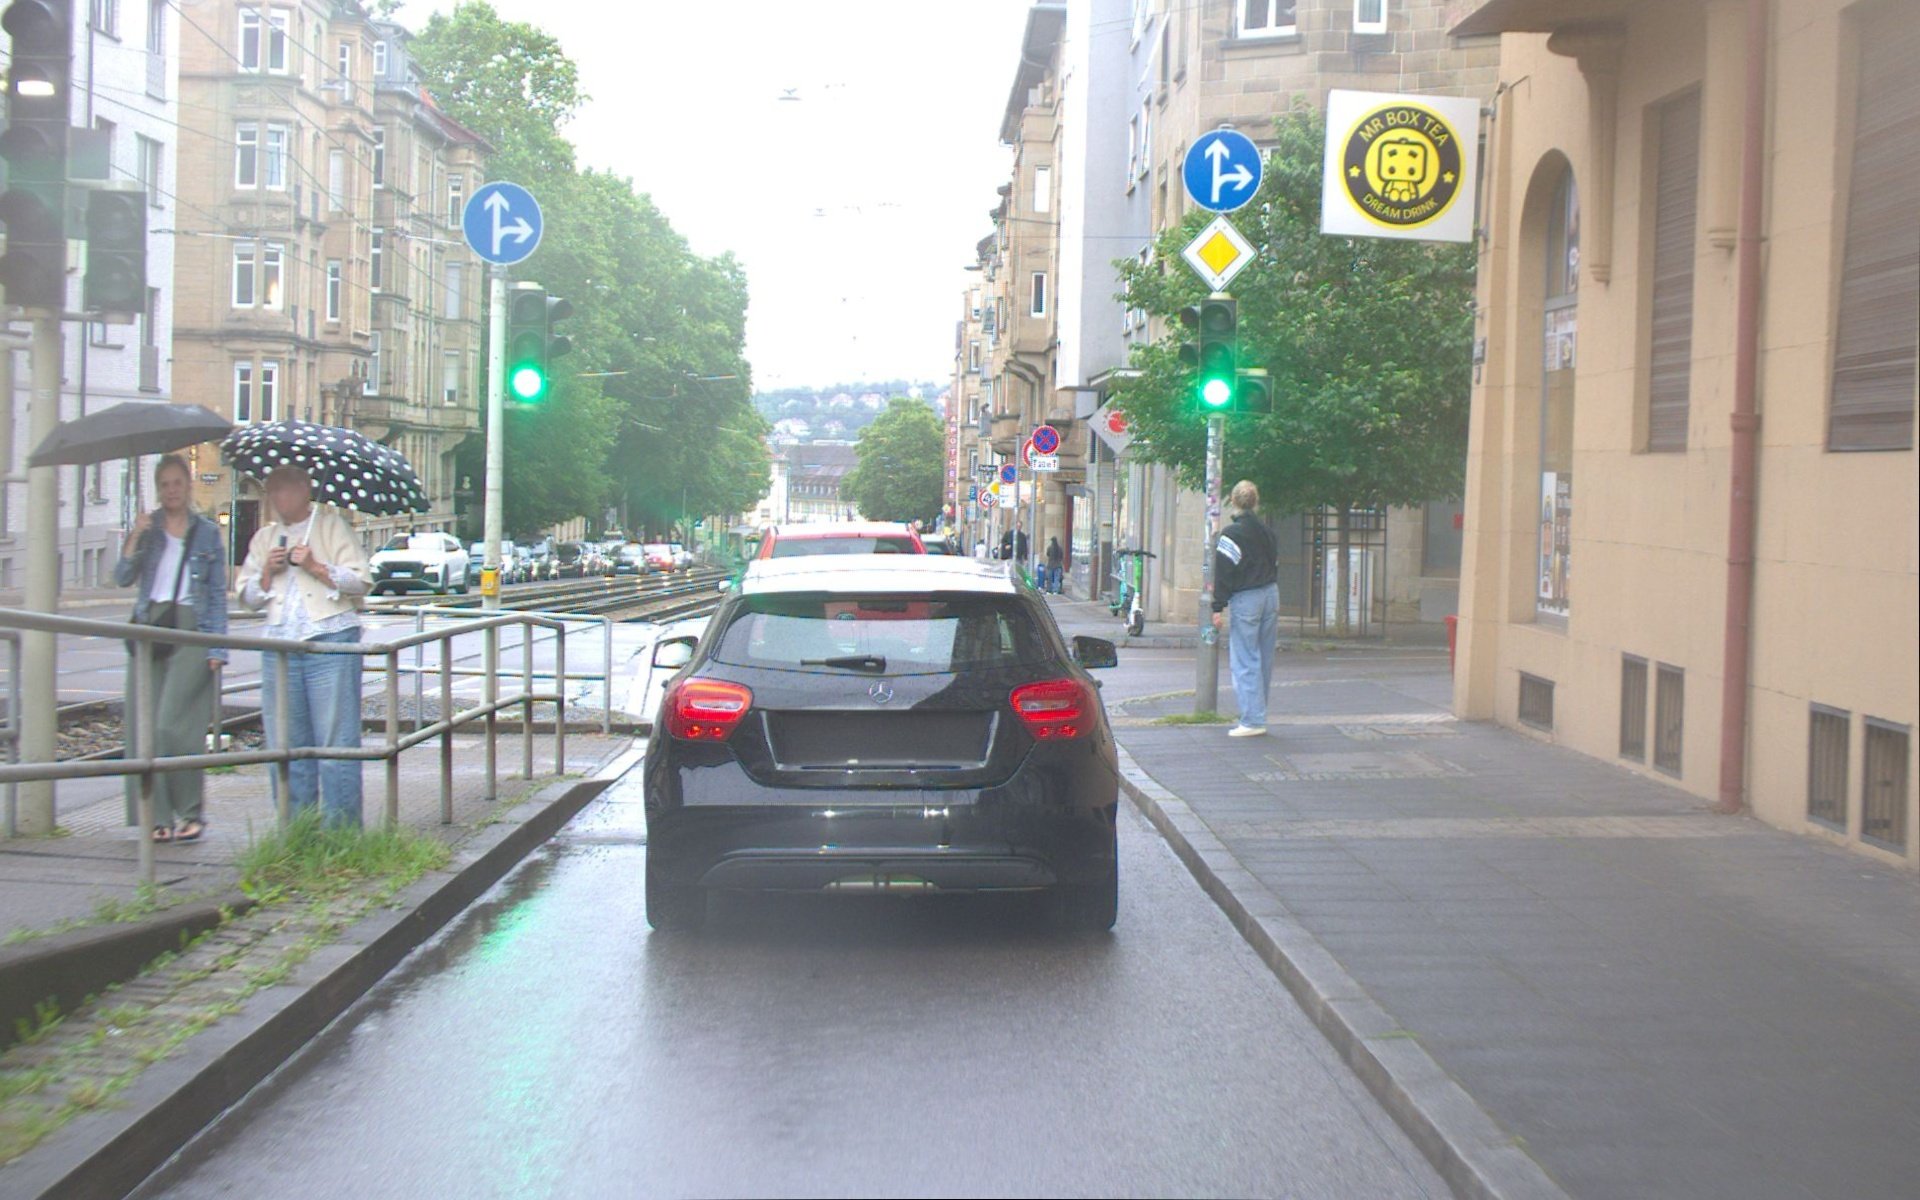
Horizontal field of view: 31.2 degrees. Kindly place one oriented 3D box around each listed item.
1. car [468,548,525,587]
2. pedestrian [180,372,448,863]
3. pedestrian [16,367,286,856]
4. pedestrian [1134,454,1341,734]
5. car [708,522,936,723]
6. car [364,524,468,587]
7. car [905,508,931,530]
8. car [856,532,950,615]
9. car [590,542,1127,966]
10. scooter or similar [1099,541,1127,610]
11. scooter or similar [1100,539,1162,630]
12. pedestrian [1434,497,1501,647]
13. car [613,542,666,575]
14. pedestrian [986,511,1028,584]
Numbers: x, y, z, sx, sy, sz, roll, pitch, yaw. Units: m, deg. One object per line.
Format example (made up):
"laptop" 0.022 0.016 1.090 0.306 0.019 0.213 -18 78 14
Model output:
"car" -16.928 -1.202 125.603 1.569 1.408 3.481 0 1 1
"pedestrian" -2.746 0.065 14.715 0.926 2.007 0.947 2 1 -1
"pedestrian" -3.453 0.041 14.752 0.897 2.007 0.947 2 1 -1
"pedestrian" 1.884 -0.042 23.345 0.900 1.834 0.968 -3 1 -44
"car" -1.129 0.127 27.309 1.649 1.447 4.001 1 1 -3
"car" -14.434 -1.153 91.430 1.993 1.622 5.253 0 0 -1
"car" -2.667 -5.144 218.758 1.613 1.313 4.000 2 1 -1
"car" -1.100 -0.536 66.993 1.765 1.553 4.746 0 1 -1
"car" -0.327 0.509 14.130 1.866 1.447 4.000 1 1 1
"scooter or similar" 2.751 -0.449 61.976 0.395 1.212 1.107 0 1 -3
"scooter or similar" 2.310 -0.220 46.534 0.638 1.206 1.553 0 1 -5
"pedestrian" 6.138 -0.344 41.596 0.594 1.782 0.891 -1 1 -4
"car" -13.932 -1.801 149.696 1.948 1.392 4.274 -1 1 0
"pedestrian" 1.138 -1.275 83.737 0.945 1.763 1.015 0 1 -3
